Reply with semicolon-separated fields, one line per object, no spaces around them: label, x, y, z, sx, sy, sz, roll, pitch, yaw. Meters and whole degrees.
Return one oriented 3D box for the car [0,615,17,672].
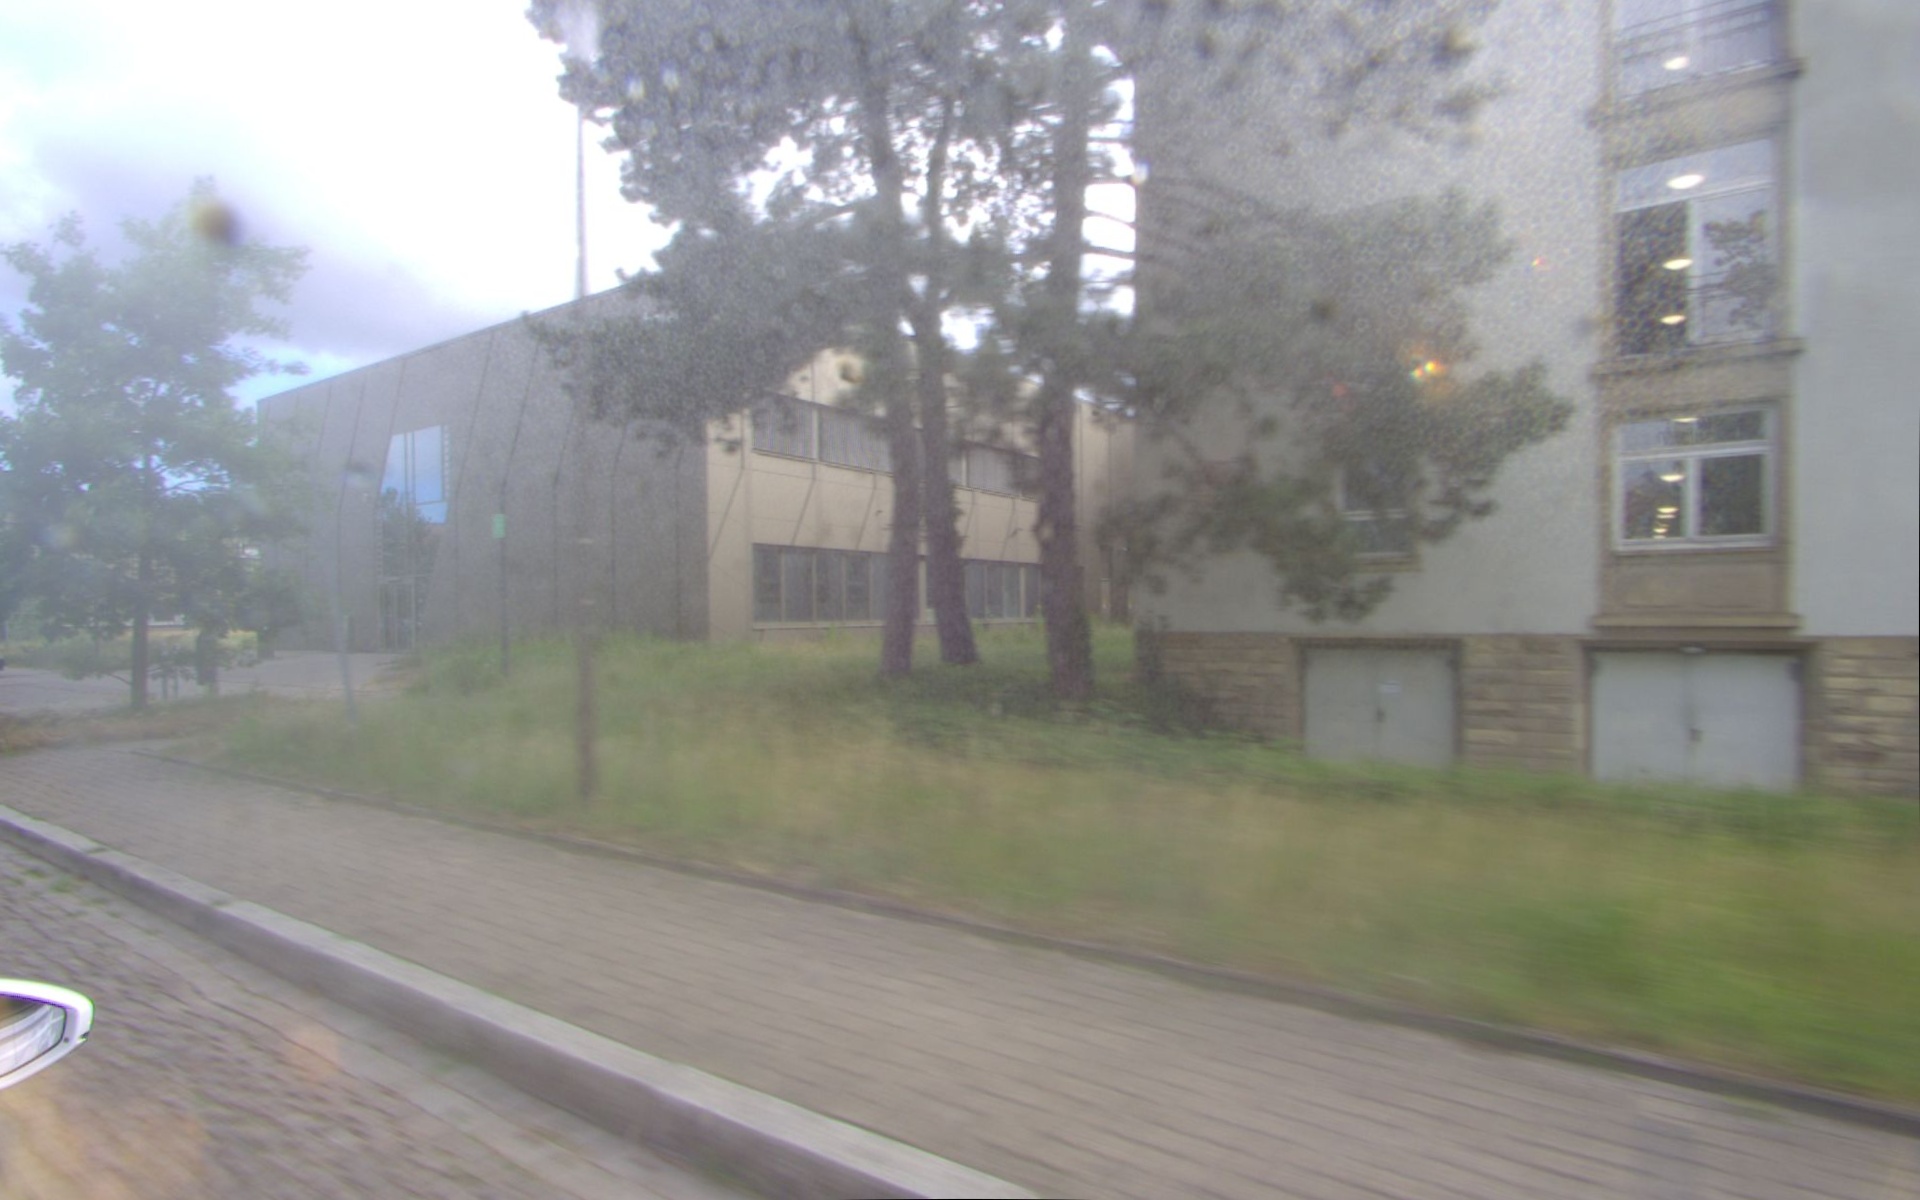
car;-28.301;1.251;26.503;1.971;1.552;4.508;0;1;31
